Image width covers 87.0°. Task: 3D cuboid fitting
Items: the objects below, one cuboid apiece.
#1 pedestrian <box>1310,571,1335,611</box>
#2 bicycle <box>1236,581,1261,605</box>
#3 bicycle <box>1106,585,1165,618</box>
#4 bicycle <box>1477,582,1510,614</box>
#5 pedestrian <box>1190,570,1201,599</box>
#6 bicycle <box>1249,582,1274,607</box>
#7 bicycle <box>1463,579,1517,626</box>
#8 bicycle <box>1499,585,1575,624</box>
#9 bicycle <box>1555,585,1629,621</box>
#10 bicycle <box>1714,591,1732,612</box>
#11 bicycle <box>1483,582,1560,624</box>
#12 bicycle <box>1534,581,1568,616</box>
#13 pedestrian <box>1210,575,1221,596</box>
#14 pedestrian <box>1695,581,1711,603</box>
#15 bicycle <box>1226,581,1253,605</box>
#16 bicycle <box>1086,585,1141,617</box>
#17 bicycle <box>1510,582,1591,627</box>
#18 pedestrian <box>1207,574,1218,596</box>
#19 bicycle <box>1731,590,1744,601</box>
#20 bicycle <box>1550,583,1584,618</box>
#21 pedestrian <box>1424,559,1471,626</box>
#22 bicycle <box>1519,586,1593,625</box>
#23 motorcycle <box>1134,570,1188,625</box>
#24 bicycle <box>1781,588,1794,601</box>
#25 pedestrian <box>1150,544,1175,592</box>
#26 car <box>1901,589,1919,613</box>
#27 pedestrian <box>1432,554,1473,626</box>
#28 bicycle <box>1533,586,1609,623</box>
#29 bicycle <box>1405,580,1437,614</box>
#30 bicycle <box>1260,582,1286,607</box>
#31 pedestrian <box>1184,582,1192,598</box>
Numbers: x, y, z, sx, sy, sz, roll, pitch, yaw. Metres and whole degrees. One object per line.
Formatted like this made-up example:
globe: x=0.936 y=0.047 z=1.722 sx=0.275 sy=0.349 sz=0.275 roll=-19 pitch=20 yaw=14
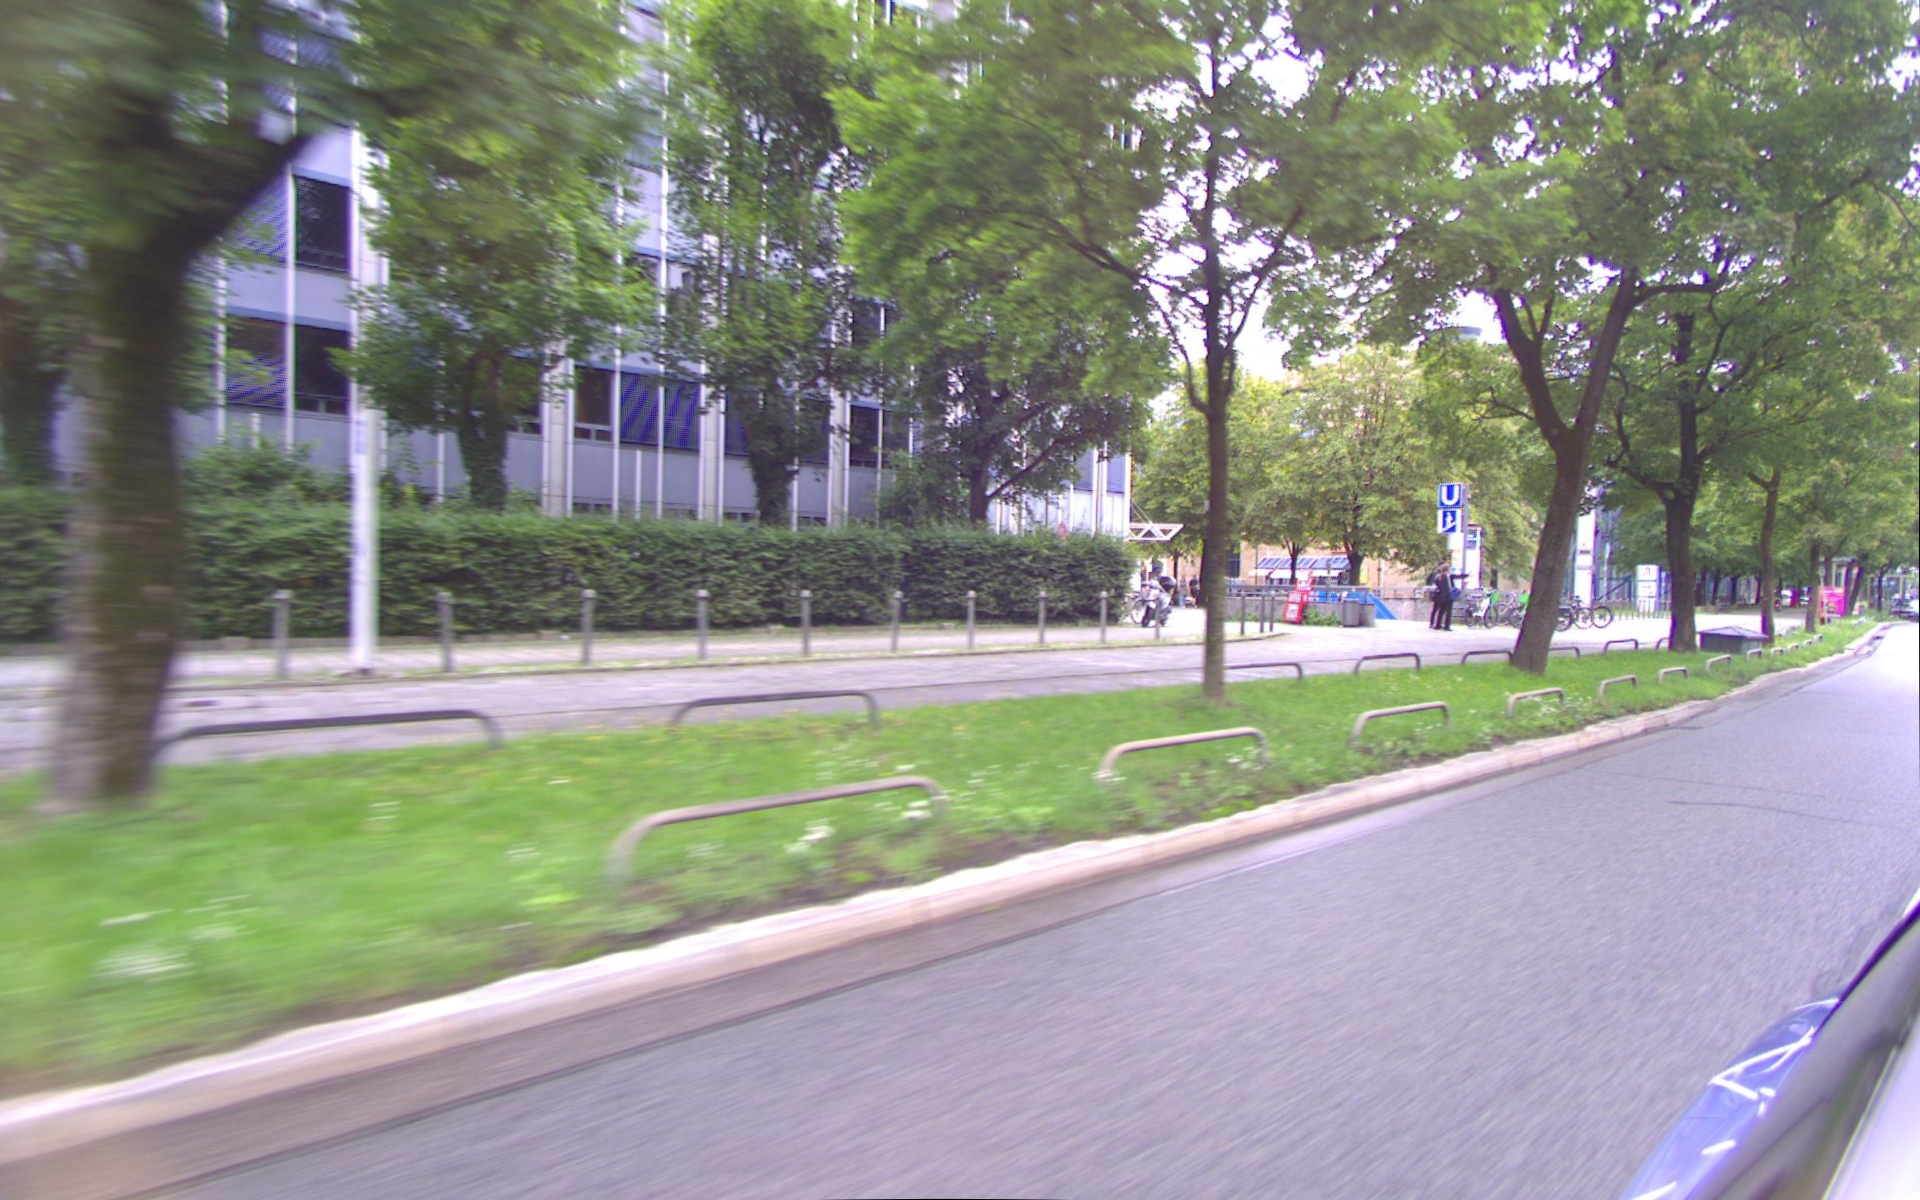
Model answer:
pedestrian: x=16.563 y=-0.422 z=46.204 sx=0.754 sy=1.794 sz=0.690 roll=1 pitch=1 yaw=-29
bicycle: x=15.413 y=-0.383 z=54.012 sx=0.508 sy=1.276 sz=1.926 roll=2 pitch=1 yaw=40
bicycle: x=4.936 y=0.038 z=28.390 sx=1.803 sy=0.864 sz=0.683 roll=2 pitch=1 yaw=-44
bicycle: x=20.086 y=-0.077 z=38.085 sx=1.921 sy=1.204 sz=0.446 roll=0 pitch=1 yaw=-43
pedestrian: x=12.186 y=-0.800 z=52.332 sx=0.386 sy=1.510 sz=0.385 roll=1 pitch=1 yaw=-32
bicycle: x=15.935 y=-0.314 z=53.518 sx=0.508 sy=1.276 sz=1.993 roll=2 pitch=2 yaw=40
bicycle: x=15.212 y=0.073 z=29.026 sx=1.826 sy=1.241 sz=0.532 roll=2 pitch=2 yaw=-35
bicycle: x=18.336 y=0.137 z=32.190 sx=1.921 sy=1.096 sz=0.596 roll=4 pitch=1 yaw=7
bicycle: x=21.622 y=0.097 z=34.655 sx=1.997 sy=1.112 sz=0.580 roll=3 pitch=4 yaw=6
bicycle: x=47.962 y=0.064 z=63.598 sx=0.620 sy=1.266 sz=1.890 roll=3 pitch=2 yaw=44
bicycle: x=17.442 y=0.093 z=31.461 sx=1.921 sy=1.122 sz=0.579 roll=5 pitch=1 yaw=7
bicycle: x=21.258 y=-0.051 z=36.386 sx=1.921 sy=1.204 sz=0.488 roll=0 pitch=2 yaw=-43
pedestrian: x=20.433 y=-1.171 z=80.890 sx=0.583 sy=1.699 sz=0.562 roll=1 pitch=1 yaw=-41
pedestrian: x=58.378 y=-0.642 z=79.491 sx=0.632 sy=1.665 sz=0.740 roll=0 pitch=3 yaw=-33
bicycle: x=15.067 y=-0.369 z=54.532 sx=0.552 sy=1.276 sz=2.144 roll=2 pitch=2 yaw=40
bicycle: x=4.406 y=0.040 z=29.024 sx=1.803 sy=0.864 sz=0.553 roll=2 pitch=1 yaw=-44
bicycle: x=17.738 y=0.130 z=30.444 sx=1.928 sy=1.203 sz=0.594 roll=5 pitch=2 yaw=18
pedestrian: x=19.966 y=-1.162 z=80.098 sx=0.581 sy=1.699 sz=0.504 roll=1 pitch=1 yaw=-18
bicycle: x=73.971 y=-0.426 z=96.301 sx=2.028 sy=0.952 sz=0.571 roll=-1 pitch=2 yaw=-41
bicycle: x=21.613 y=0.030 z=36.007 sx=1.921 sy=1.204 sz=0.488 roll=0 pitch=2 yaw=-43
pedestrian: x=12.818 y=-0.194 z=26.618 sx=0.735 sy=1.735 sz=0.787 roll=1 pitch=1 yaw=-25
bicycle: x=19.381 y=0.174 z=32.914 sx=1.921 sy=1.078 sz=0.580 roll=4 pitch=3 yaw=7
motorcycle: x=5.152 y=-0.074 z=25.852 sx=0.547 sy=1.335 sz=2.047 roll=2 pitch=1 yaw=36
bicycle: x=77.640 y=-0.494 z=94.944 sx=2.104 sy=1.207 sz=0.512 roll=-1 pitch=2 yaw=-41
pedestrian: x=7.274 y=-1.153 z=36.405 sx=0.686 sy=1.699 sz=0.654 roll=1 pitch=1 yaw=-2
car: x=69.046 y=0.092 z=72.542 sx=4.524 sy=1.610 sz=1.864 roll=0 pitch=2 yaw=-42
pedestrian: x=13.363 y=-0.268 z=27.443 sx=0.734 sy=1.923 sz=0.654 roll=1 pitch=1 yaw=-30
bicycle: x=20.320 y=0.140 z=33.684 sx=2.006 sy=1.102 sz=0.604 roll=3 pitch=4 yaw=7
bicycle: x=18.218 y=-0.129 z=39.960 sx=0.508 sy=1.310 sz=2.442 roll=2 pitch=2 yaw=40
bicycle: x=16.473 y=-0.281 z=53.206 sx=0.508 sy=1.276 sz=2.144 roll=2 pitch=2 yaw=40
pedestrian: x=18.507 y=-0.810 z=82.255 sx=0.418 sy=1.299 sz=0.507 roll=2 pitch=1 yaw=36
